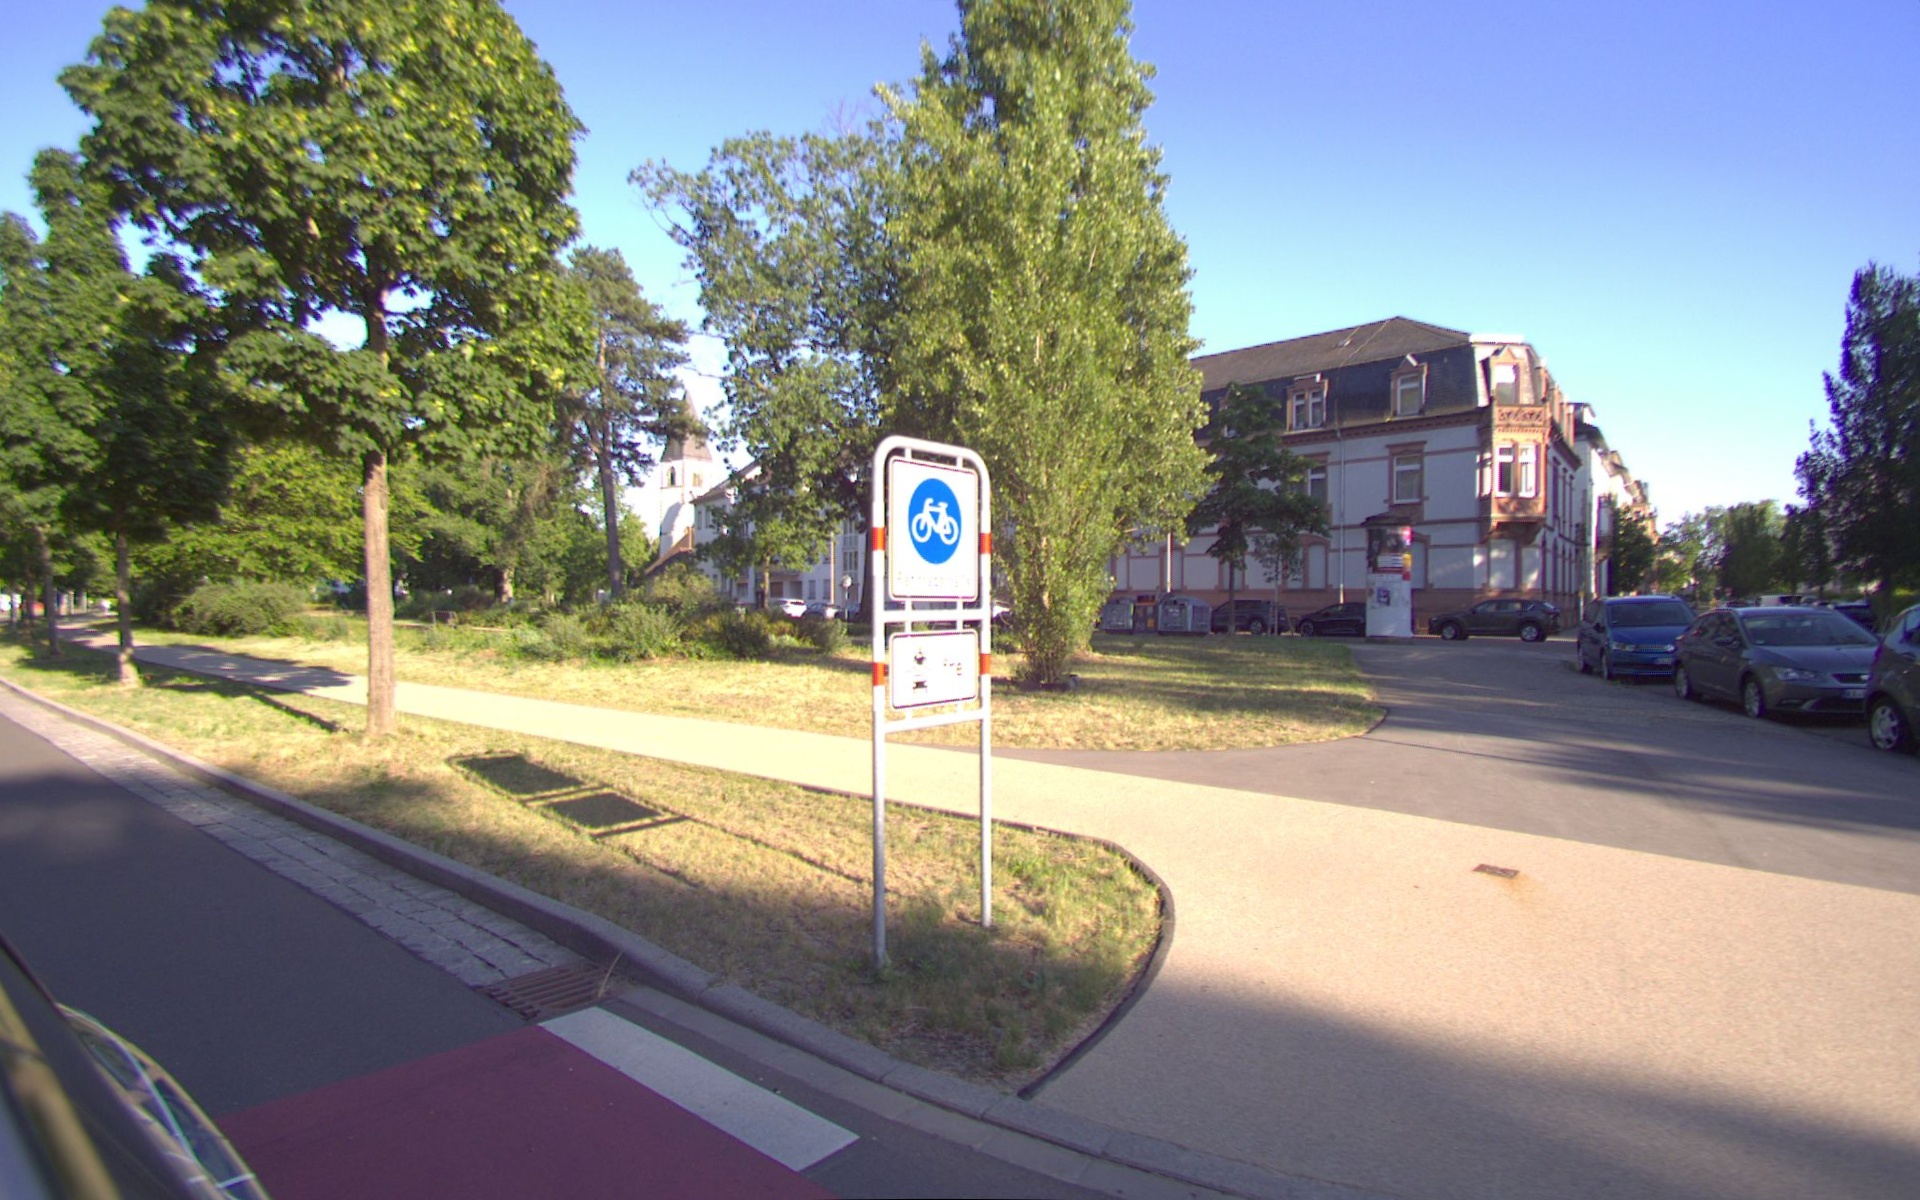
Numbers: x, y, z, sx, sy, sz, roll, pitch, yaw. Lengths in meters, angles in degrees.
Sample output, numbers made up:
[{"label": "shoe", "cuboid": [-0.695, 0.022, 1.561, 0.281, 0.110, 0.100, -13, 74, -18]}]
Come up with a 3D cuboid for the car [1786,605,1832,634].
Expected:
[{"label": "car", "cuboid": [48.865, 1.089, 58.300, 1.889, 1.586, 3.948, 2, 1, 39]}]

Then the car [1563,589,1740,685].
[{"label": "car", "cuboid": [13.398, 0.653, 19.910, 1.826, 1.656, 4.249, 1, 0, 20]}]

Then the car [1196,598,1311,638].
[{"label": "car", "cuboid": [13.047, 0.776, 45.150, 4.600, 1.586, 1.864, 2, 1, 43]}]

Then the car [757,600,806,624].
[{"label": "car", "cuboid": [-13.574, 0.906, 76.640, 1.859, 1.586, 4.611, 1, 1, -35]}]

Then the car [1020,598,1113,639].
[{"label": "car", "cuboid": [5.577, 0.949, 53.658, 1.861, 1.907, 4.985, 1, 1, -40]}]

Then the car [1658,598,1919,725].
[{"label": "car", "cuboid": [11.172, 0.709, 13.502, 1.824, 1.411, 4.253, 1, 0, 17]}]

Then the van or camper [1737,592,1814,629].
[{"label": "van or camper", "cuboid": [60.093, 0.745, 74.705, 2.060, 2.569, 6.047, 2, 1, 15]}]

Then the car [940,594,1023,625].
[{"label": "car", "cuboid": [1.191, 0.517, 57.603, 4.600, 1.586, 1.864, 2, 1, 43]}]

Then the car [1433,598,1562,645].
[{"label": "car", "cuboid": [20.395, 0.772, 38.455, 3.998, 1.586, 1.865, 2, 1, 40]}]

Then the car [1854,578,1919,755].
[{"label": "car", "cuboid": [9.601, 0.625, 8.332, 1.823, 1.643, 3.828, 1, 0, 15]}]

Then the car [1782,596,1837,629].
[{"label": "car", "cuboid": [42.721, 0.607, 50.980, 1.888, 1.586, 3.949, 2, 1, 37]}]

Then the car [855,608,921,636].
[{"label": "car", "cuboid": [-4.681, 1.360, 65.065, 1.861, 1.586, 4.607, 1, 1, -40]}]

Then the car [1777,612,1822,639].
[{"label": "car", "cuboid": [54.190, 1.631, 65.374, 1.887, 1.586, 3.952, 2, 1, 36]}]

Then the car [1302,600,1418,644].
[{"label": "car", "cuboid": [16.443, 0.867, 41.720, 1.862, 1.586, 4.004, 1, 1, -43]}]
